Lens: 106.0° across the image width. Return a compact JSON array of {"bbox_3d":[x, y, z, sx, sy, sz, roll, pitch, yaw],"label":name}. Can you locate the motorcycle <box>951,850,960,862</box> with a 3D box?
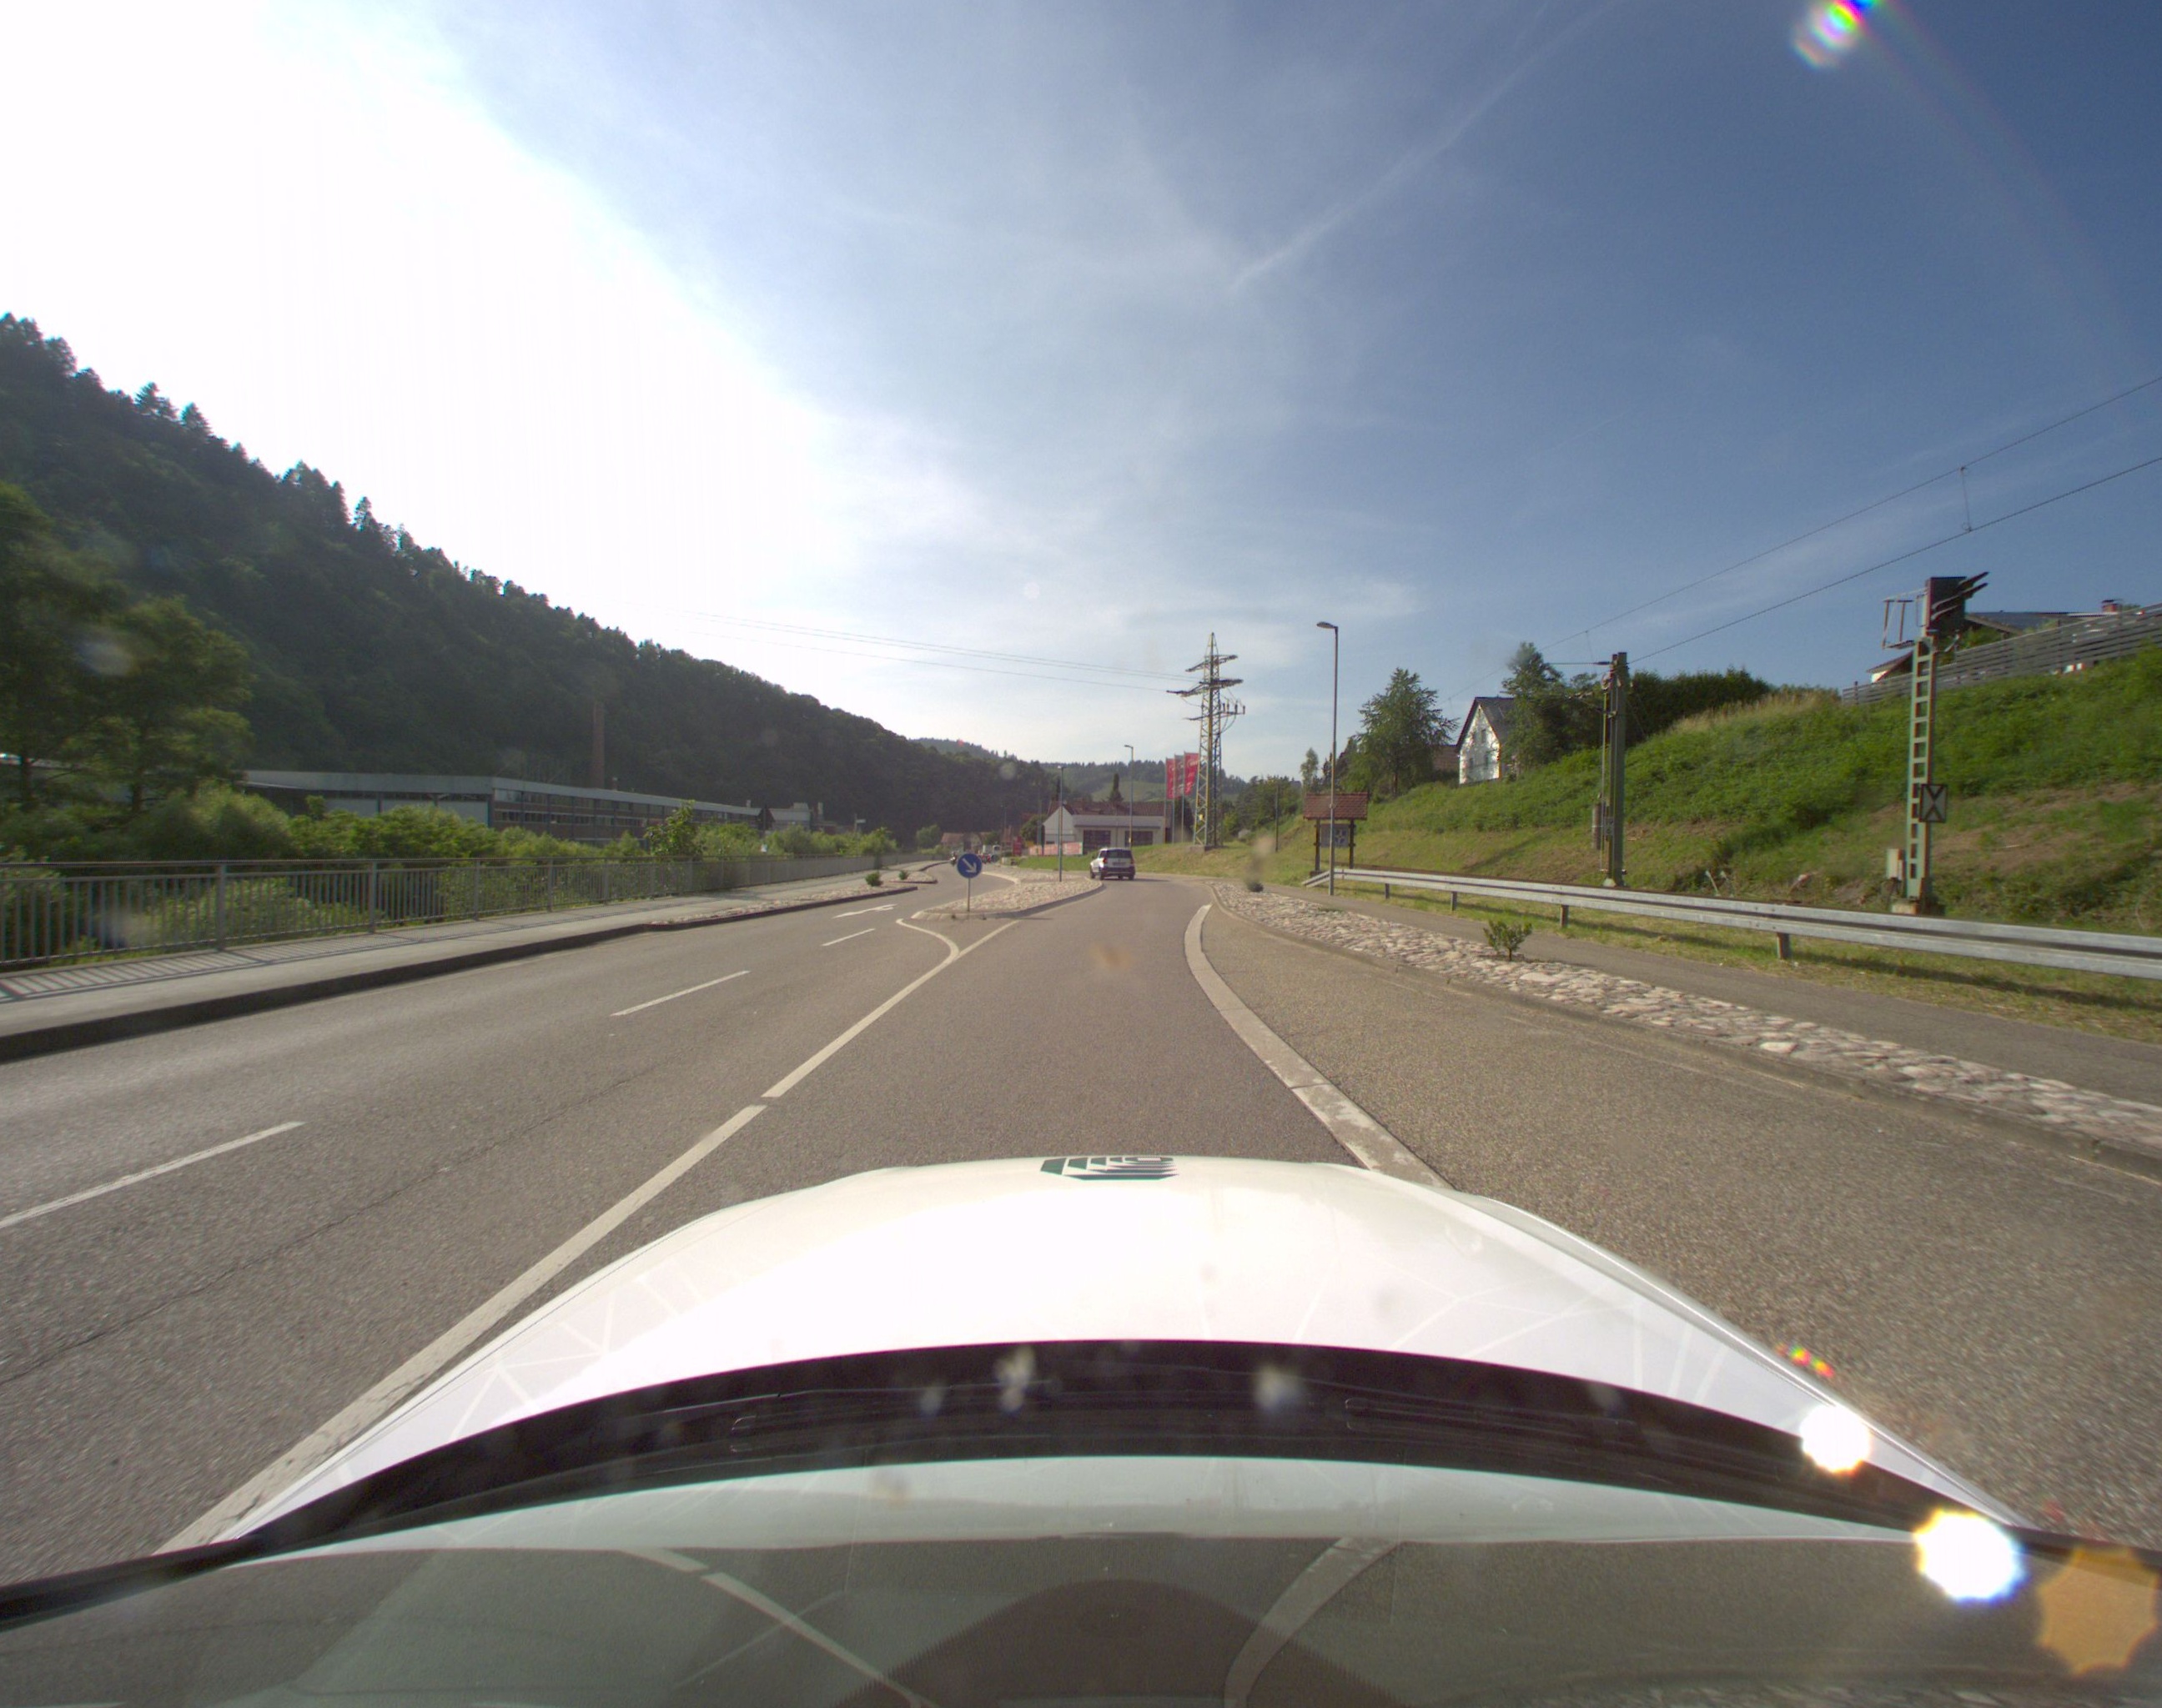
[{"bbox_3d":[-14.649,0.257,95.132,0.771,1.422,2.314,0,0,-5],"label":"motorcycle"}]

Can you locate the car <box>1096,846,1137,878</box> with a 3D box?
[{"bbox_3d":[1.811,0.425,42.570,1.856,1.544,4.370,1,0,-1],"label":"car"}]

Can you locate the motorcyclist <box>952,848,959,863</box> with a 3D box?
[{"bbox_3d":[-14.649,0.152,95.167,0.761,1.678,0.726,0,-1,-4],"label":"motorcyclist"}]

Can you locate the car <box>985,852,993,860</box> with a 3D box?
[{"bbox_3d":[-16.685,0.389,148.277,1.354,1.435,2.834,1,1,-4],"label":"car"}]

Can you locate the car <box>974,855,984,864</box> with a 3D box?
[{"bbox_3d":[-17.242,0.883,137.543,1.450,1.435,2.932,1,1,-3],"label":"car"}]
